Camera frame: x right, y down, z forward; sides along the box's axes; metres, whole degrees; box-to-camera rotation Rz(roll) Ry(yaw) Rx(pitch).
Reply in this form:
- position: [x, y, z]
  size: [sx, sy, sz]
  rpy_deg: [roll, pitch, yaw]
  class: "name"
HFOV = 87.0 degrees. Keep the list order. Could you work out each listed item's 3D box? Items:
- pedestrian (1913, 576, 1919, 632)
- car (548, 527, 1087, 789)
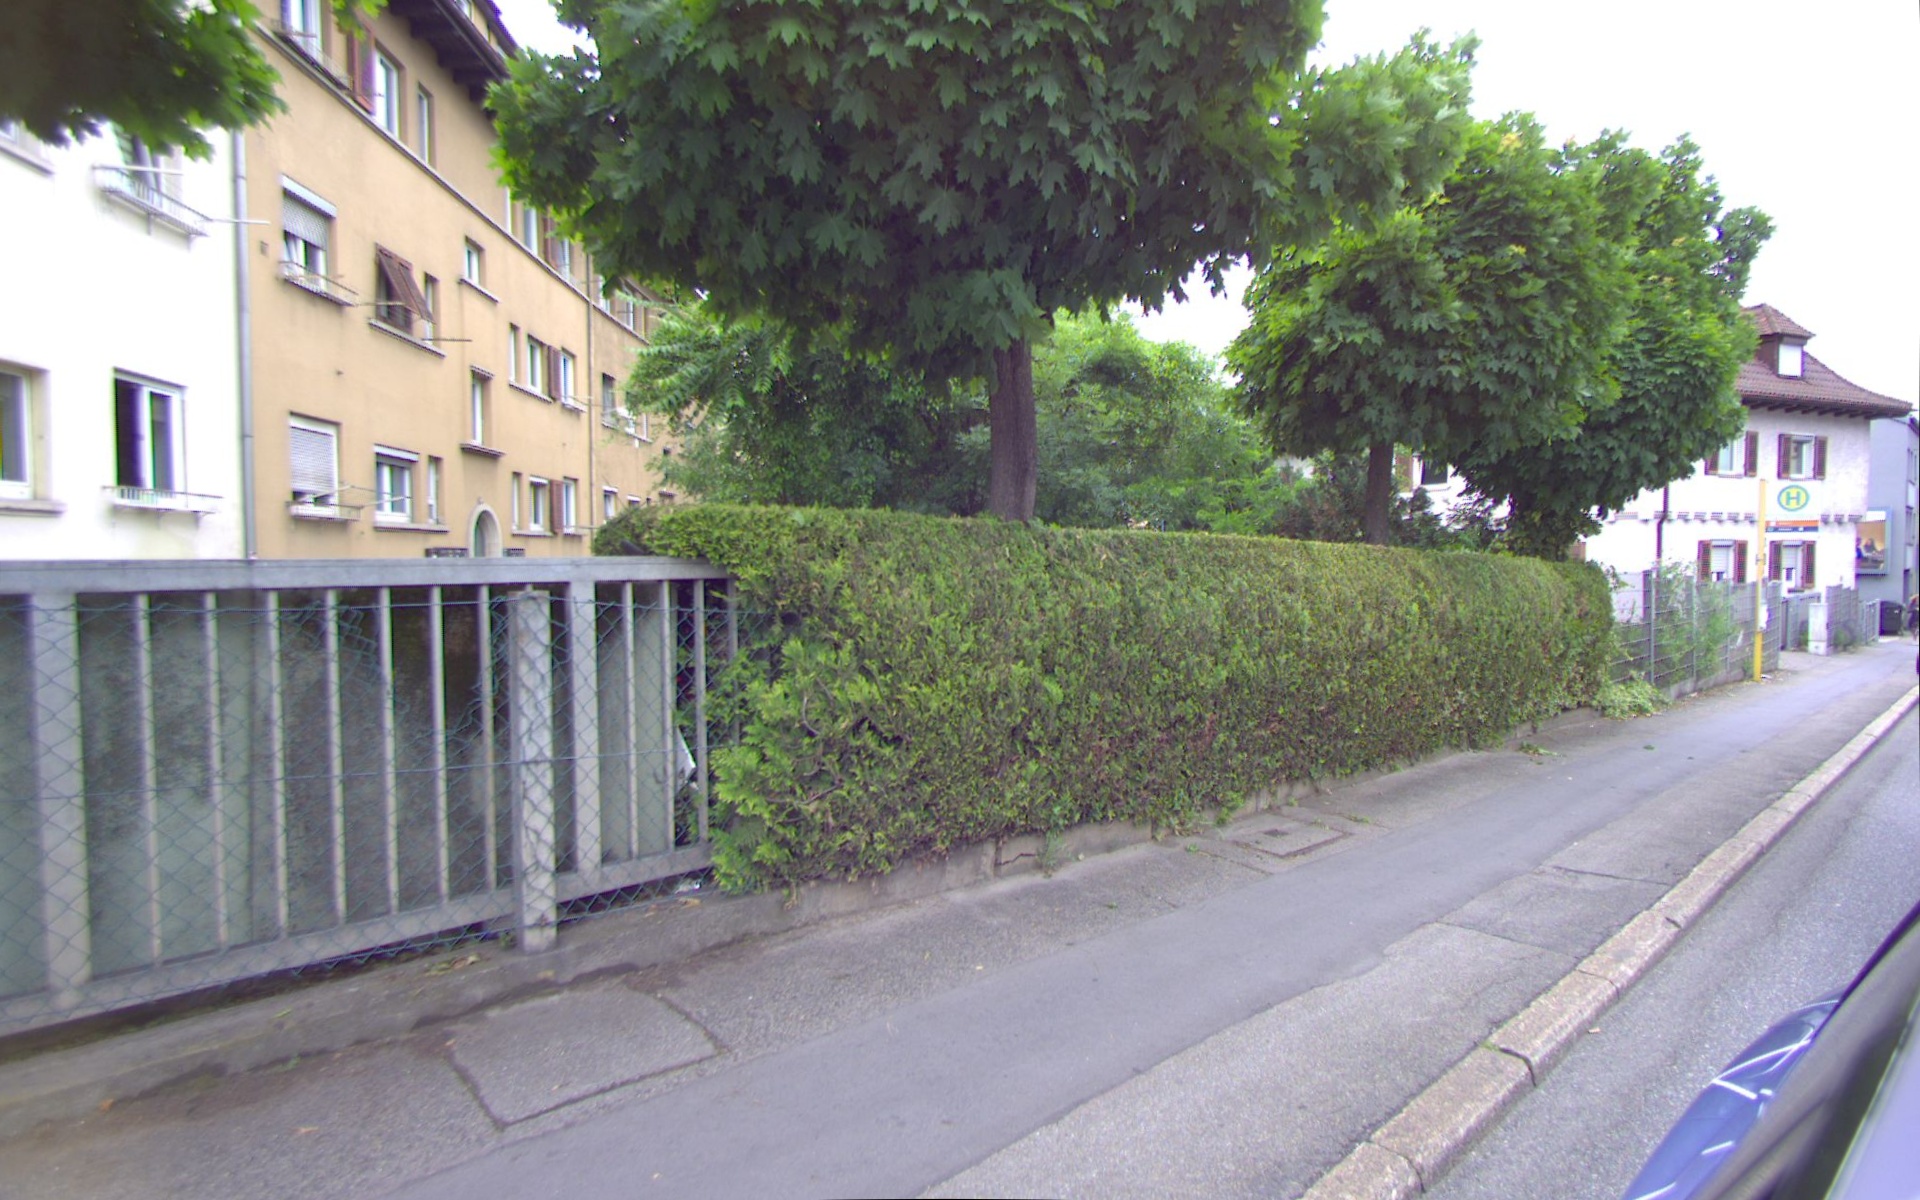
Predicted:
- position: [32.276, 0.153, 33.645]
  size: [0.580, 1.863, 0.649]
  rpy_deg: [1, 0, -22]
  class: "pedestrian"
- position: [-1.018, 0.306, 7.074]
  size: [3.367, 1.478, 1.705]
  rpy_deg: [0, 0, -20]
  class: "car"
